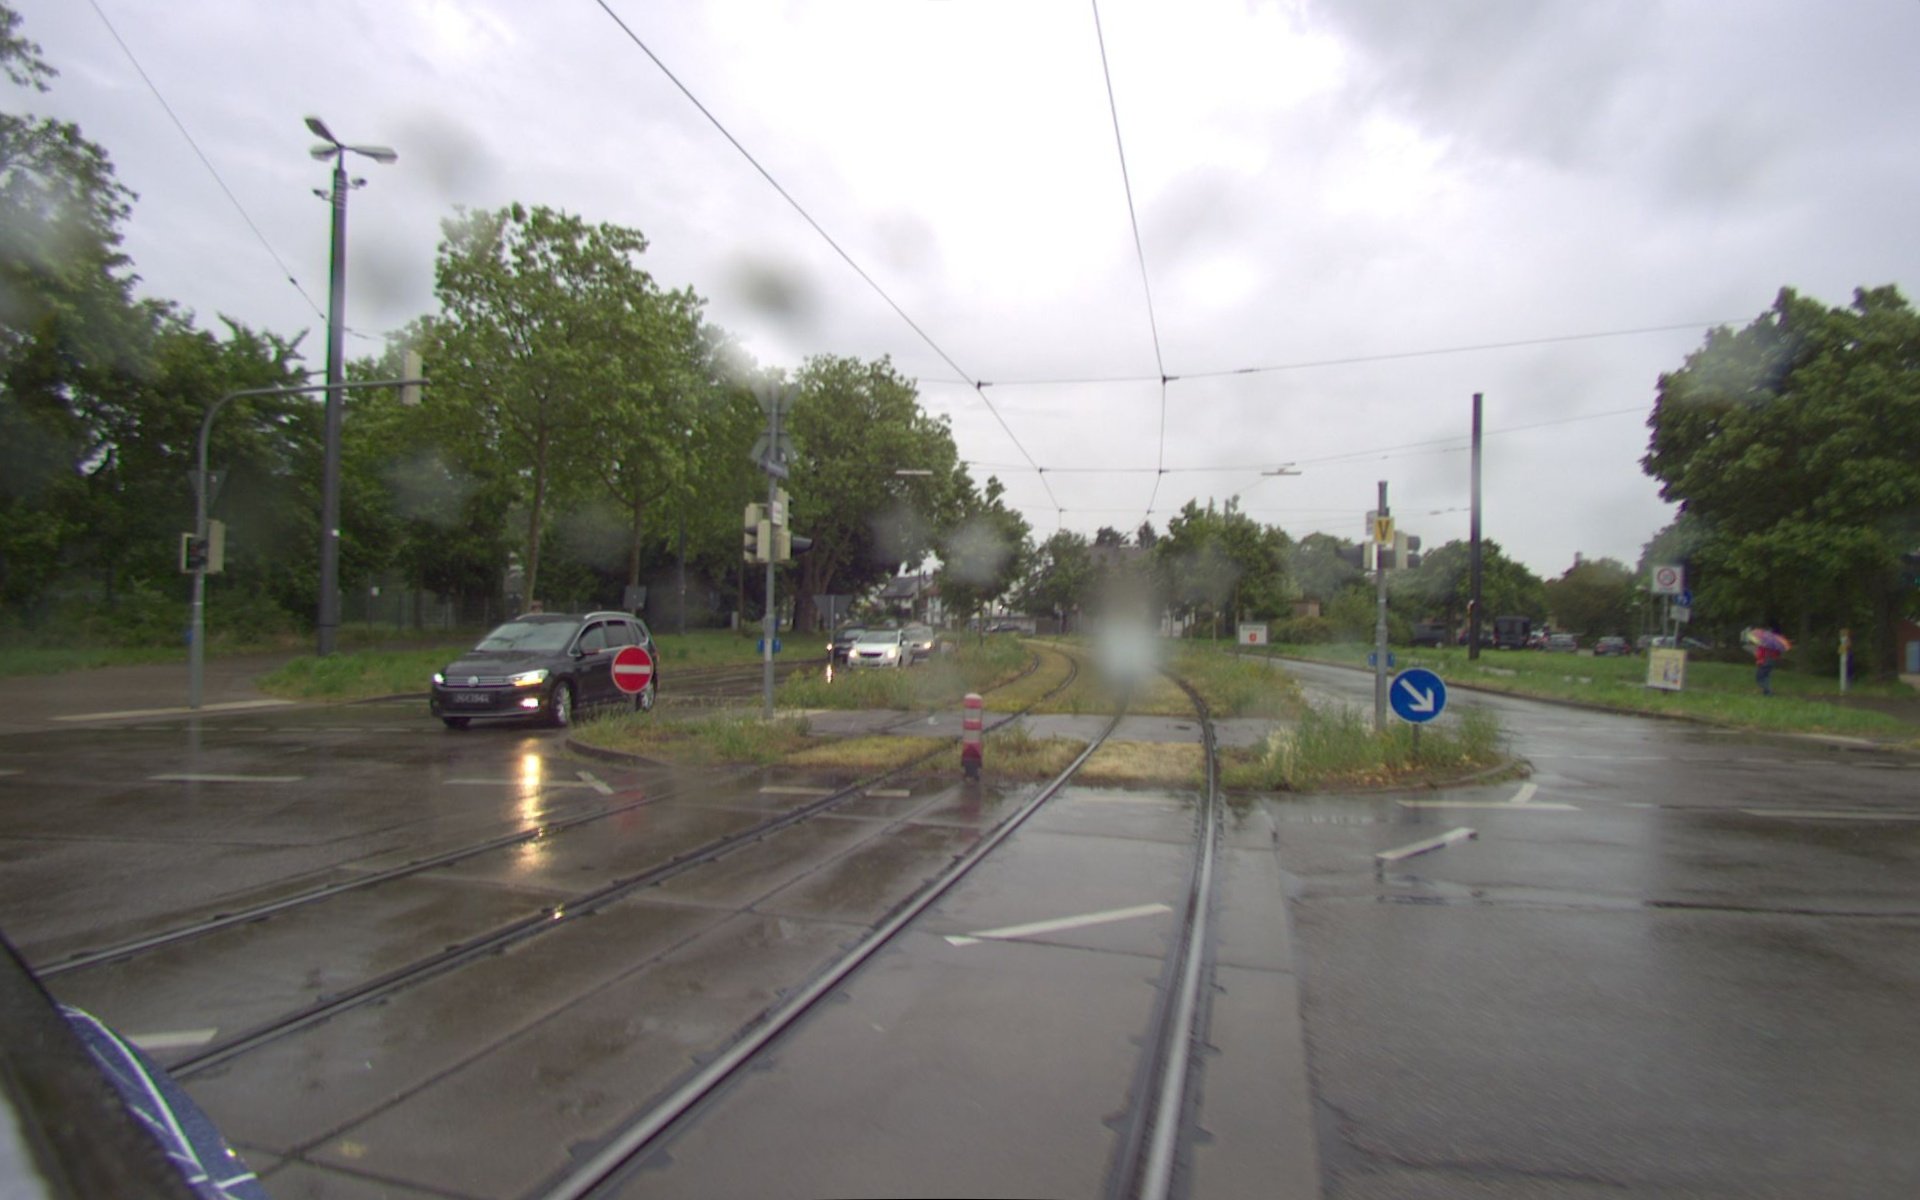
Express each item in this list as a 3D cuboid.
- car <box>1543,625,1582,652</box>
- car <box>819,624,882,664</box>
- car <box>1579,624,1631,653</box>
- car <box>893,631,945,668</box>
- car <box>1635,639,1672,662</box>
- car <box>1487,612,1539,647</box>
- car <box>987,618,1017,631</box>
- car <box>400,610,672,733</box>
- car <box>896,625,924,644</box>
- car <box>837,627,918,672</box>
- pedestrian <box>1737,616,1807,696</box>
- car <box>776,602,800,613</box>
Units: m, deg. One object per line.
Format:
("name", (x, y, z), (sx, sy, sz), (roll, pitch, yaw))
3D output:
("car", (36.283, 2.292, 60.897), (1.752, 1.542, 4.793), (-2, -2, 34))
("car", (-4.613, 1.840, 43.191), (1.851, 1.630, 3.800), (-1, -2, 7))
("car", (37.927, 2.251, 59.450), (2.060, 1.585, 4.951), (-2, -2, 38))
("car", (-1.641, 1.995, 41.720), (1.766, 1.414, 3.790), (-1, -1, 3))
("car", (51.729, 3.724, 75.506), (1.993, 1.585, 3.957), (-2, -2, 31))
("car", (33.776, 1.760, 61.716), (2.307, 2.029, 5.058), (-2, -2, 34))
("car", (6.139, 3.606, 149.288), (3.930, 1.815, 1.899), (0, -3, -24))
("car", (-6.297, 1.006, 15.701), (1.846, 1.613, 4.513), (-1, -2, 8))
("car", (-3.975, 2.710, 79.601), (1.760, 1.391, 3.872), (0, -2, -10))
("car", (-2.644, 1.599, 33.401), (1.769, 1.374, 3.986), (-1, -2, 9))
("pedestrian", (20.865, 1.429, 26.023), (0.942, 2.006, 1.006), (-1, -2, 6))
("car", (-30.232, 1.311, 178.016), (3.933, 1.841, 2.005), (0, -2, -14))
